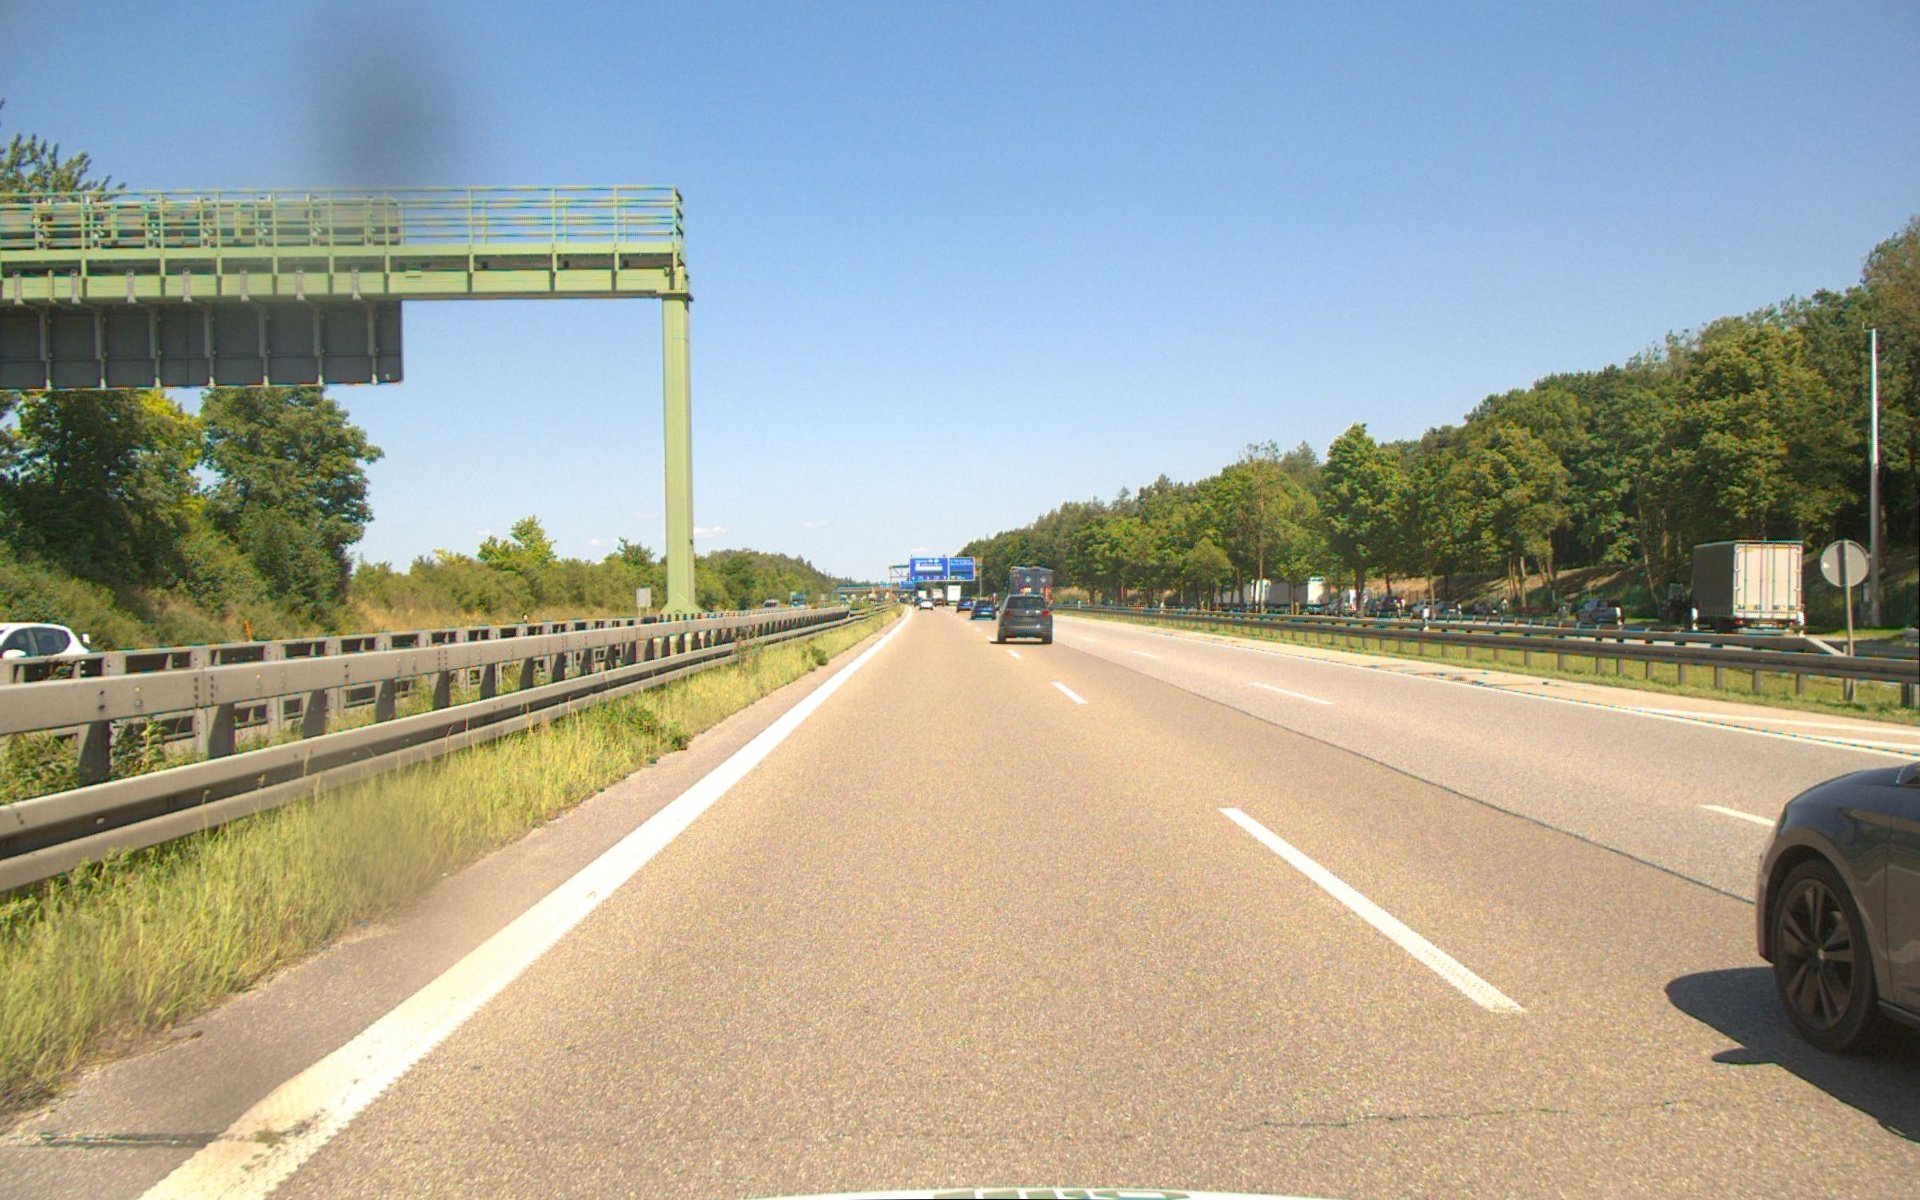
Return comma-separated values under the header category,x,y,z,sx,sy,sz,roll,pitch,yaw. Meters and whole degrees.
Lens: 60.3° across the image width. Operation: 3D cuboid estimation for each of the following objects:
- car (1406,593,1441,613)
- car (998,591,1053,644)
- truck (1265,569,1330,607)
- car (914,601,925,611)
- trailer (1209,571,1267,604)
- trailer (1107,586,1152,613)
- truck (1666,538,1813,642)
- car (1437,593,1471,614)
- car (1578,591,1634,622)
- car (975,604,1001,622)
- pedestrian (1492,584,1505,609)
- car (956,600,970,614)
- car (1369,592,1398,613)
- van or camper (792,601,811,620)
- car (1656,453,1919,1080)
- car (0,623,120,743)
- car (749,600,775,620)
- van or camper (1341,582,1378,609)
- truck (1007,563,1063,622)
category,x,y,z,sx,sy,sz,roll,pitch,yaw
car,38.811,0.253,138.576,1.622,1.705,4.651,0,0,0
car,2.206,0.571,56.117,1.762,1.698,4.259,1,0,2
truck,36.984,-1.201,182.072,2.938,4.000,14.442,0,0,-5
car,-5.111,0.786,209.264,1.441,1.249,3.409,-1,0,-1
trailer,34.004,-1.430,202.844,2.804,3.863,14.162,0,0,-8
trailer,25.228,-0.088,247.130,2.528,3.983,12.701,0,0,-14
truck,32.664,-0.424,69.754,3.215,4.016,9.359,-1,0,10
car,39.363,0.289,131.841,1.951,1.601,4.003,0,0,7
car,36.522,0.365,93.582,1.951,1.680,4.322,-1,0,8
car,1.944,0.910,116.553,1.674,1.176,3.688,-1,0,-1
pedestrian,38.688,-0.271,118.894,0.781,1.813,0.643,-1,0,12
car,0.323,0.710,175.389,1.441,1.422,3.409,2,0,-1
car,37.940,0.219,148.401,1.621,1.910,4.802,0,0,3
van or camper,-21.401,1.398,223.387,1.953,2.434,6.239,-2,0,-1
car,3.739,0.493,4.372,1.631,1.909,4.826,-1,0,-1
car,-13.228,1.133,22.561,1.633,1.489,3.880,-3,0,-3
car,-20.351,0.993,170.098,1.953,1.867,5.333,-3,0,0
van or camper,38.902,-0.380,161.116,2.159,2.575,5.874,0,0,-1
truck,5.937,-0.552,133.271,3.703,4.499,14.047,0,0,-1
